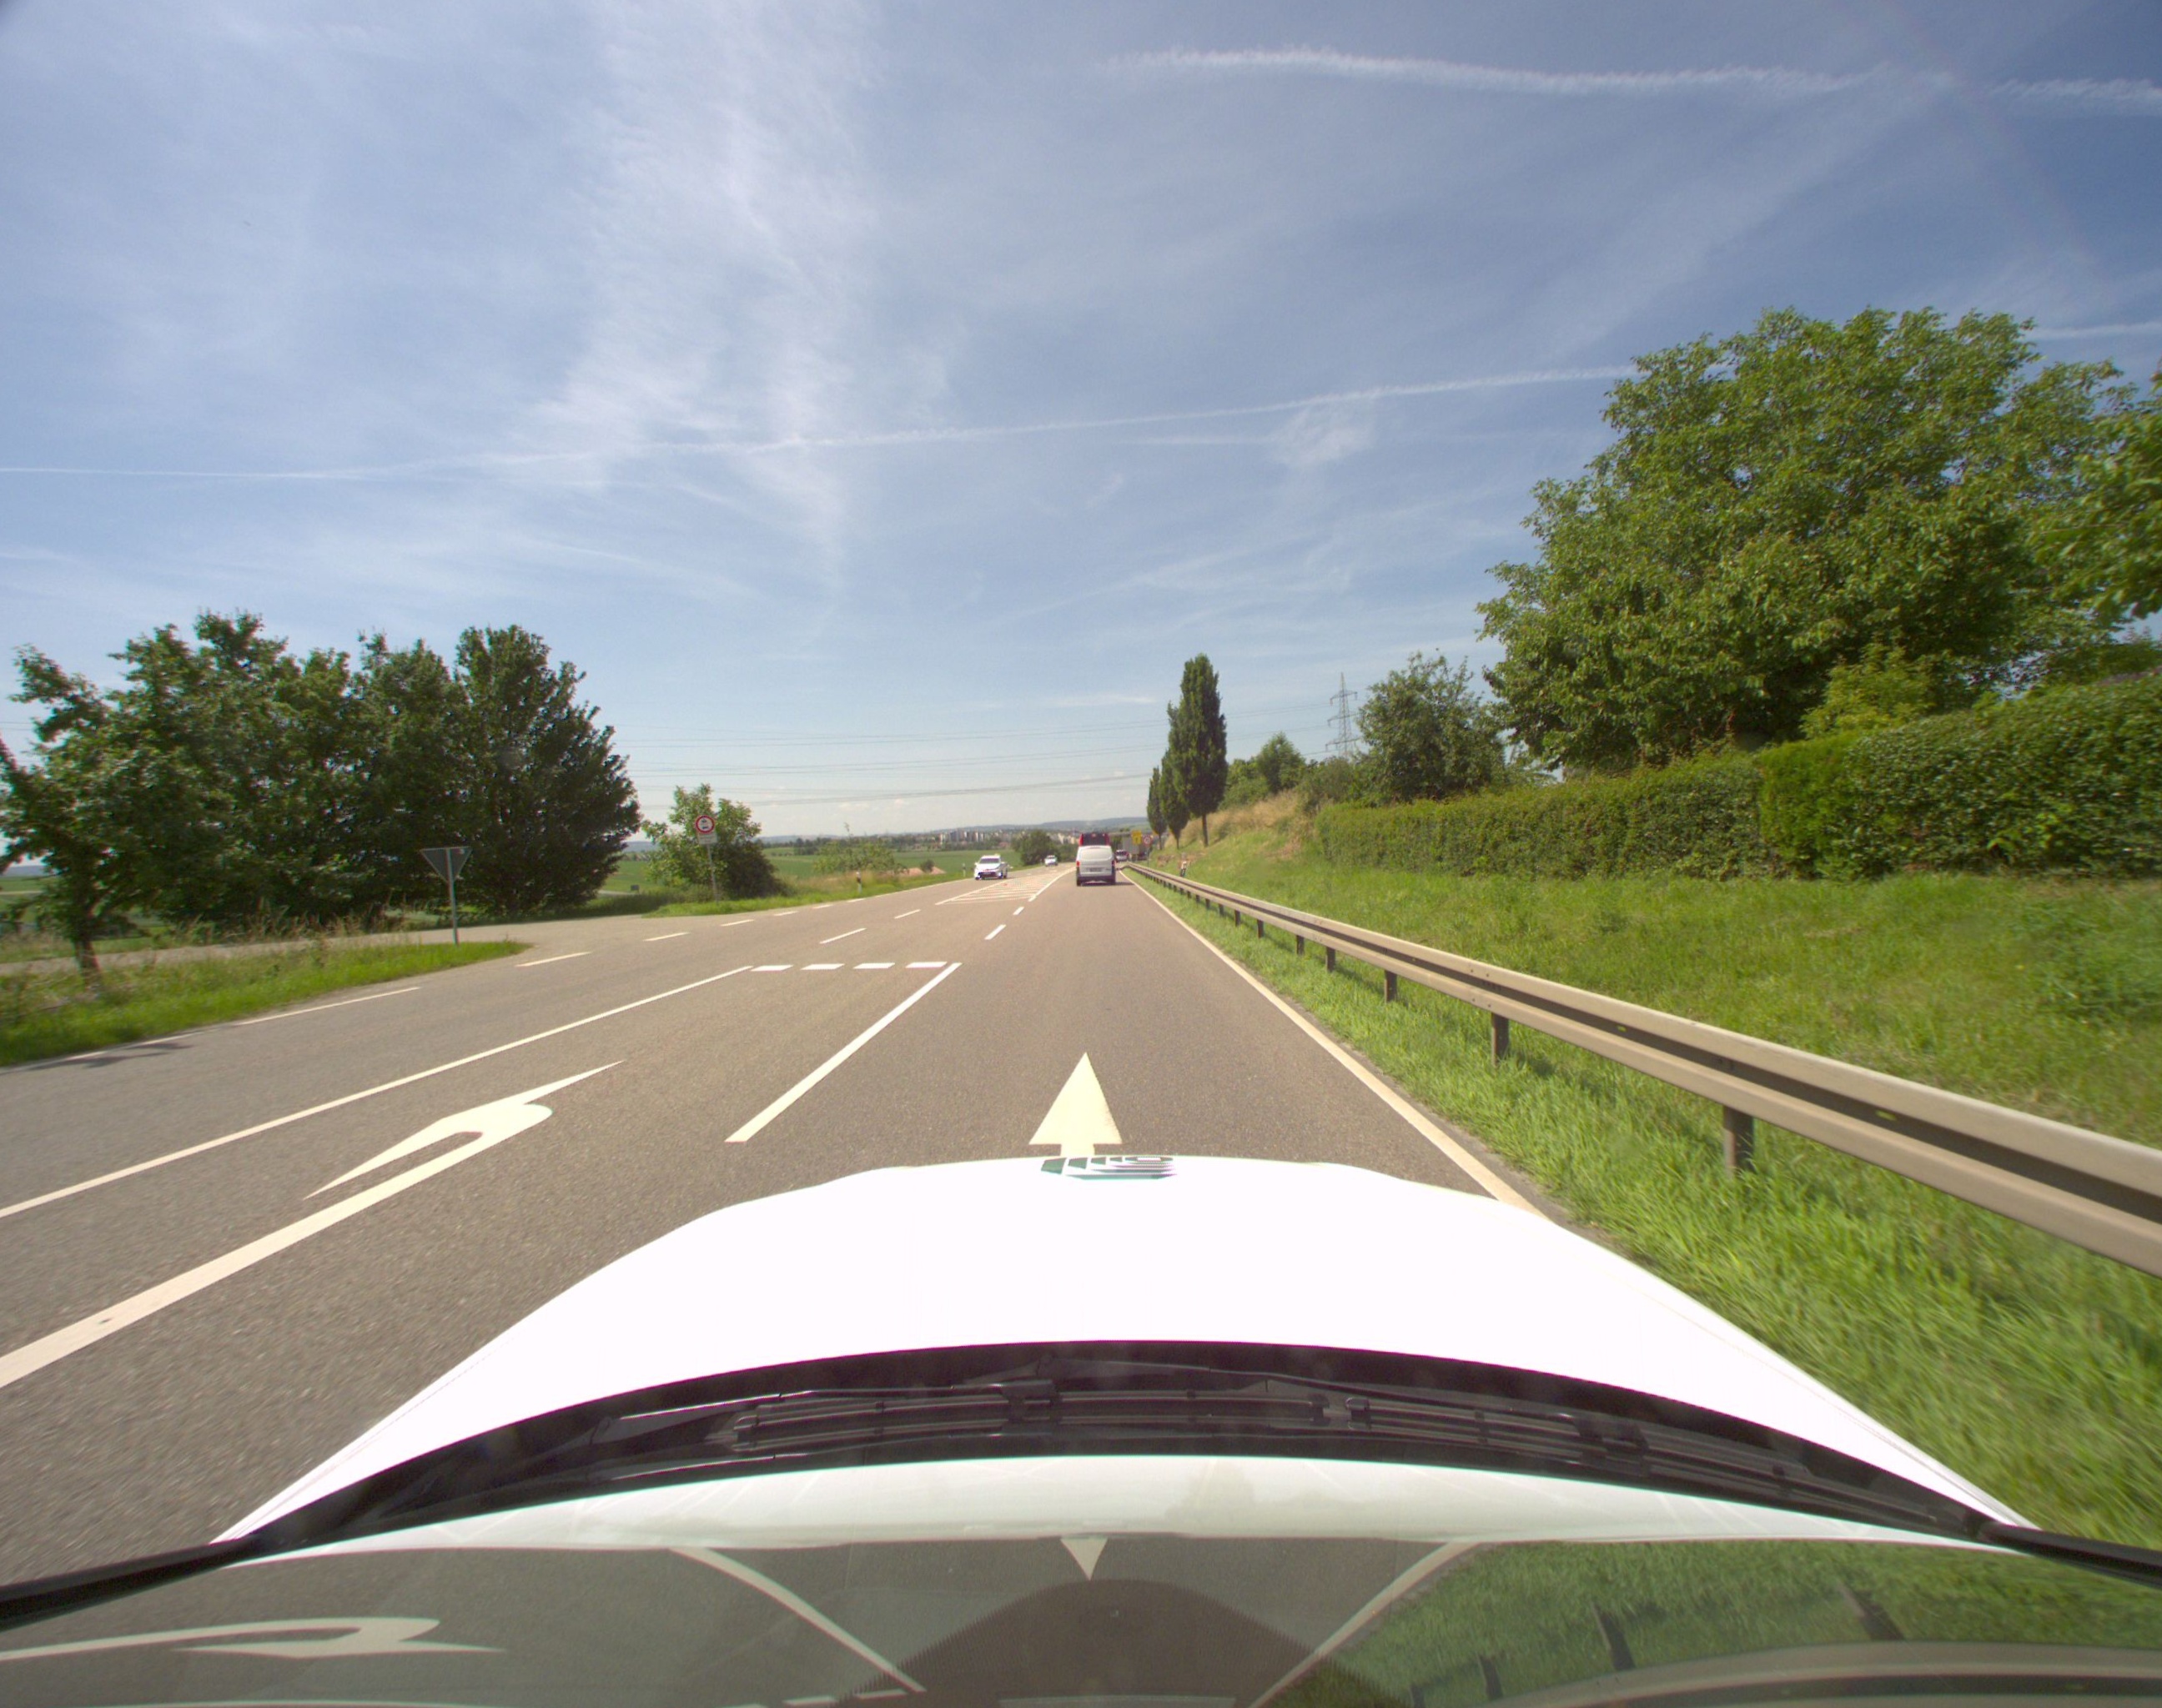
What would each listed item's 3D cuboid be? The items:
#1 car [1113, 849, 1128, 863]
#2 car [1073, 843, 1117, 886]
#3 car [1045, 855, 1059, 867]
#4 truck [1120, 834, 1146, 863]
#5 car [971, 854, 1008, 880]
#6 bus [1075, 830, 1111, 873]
[{"bbox_3d":[5.630,0.271,115.074,1.875,1.816,3.771,-3,0,6],"label":"car"},{"bbox_3d":[0.747,0.453,39.694,1.915,1.889,4.003,-3,0,3],"label":"car"},{"bbox_3d":[-4.518,1.066,125.412,1.759,1.687,3.828,-3,0,3],"label":"car"},{"bbox_3d":[8.755,-0.929,135.034,3.470,4.423,14.930,-1,0,7],"label":"truck"},{"bbox_3d":[-6.105,0.828,54.995,1.847,1.565,4.076,-3,0,2],"label":"car"},{"bbox_3d":[1.060,-0.377,73.860,2.738,3.352,13.223,-4,2,0],"label":"bus"}]
